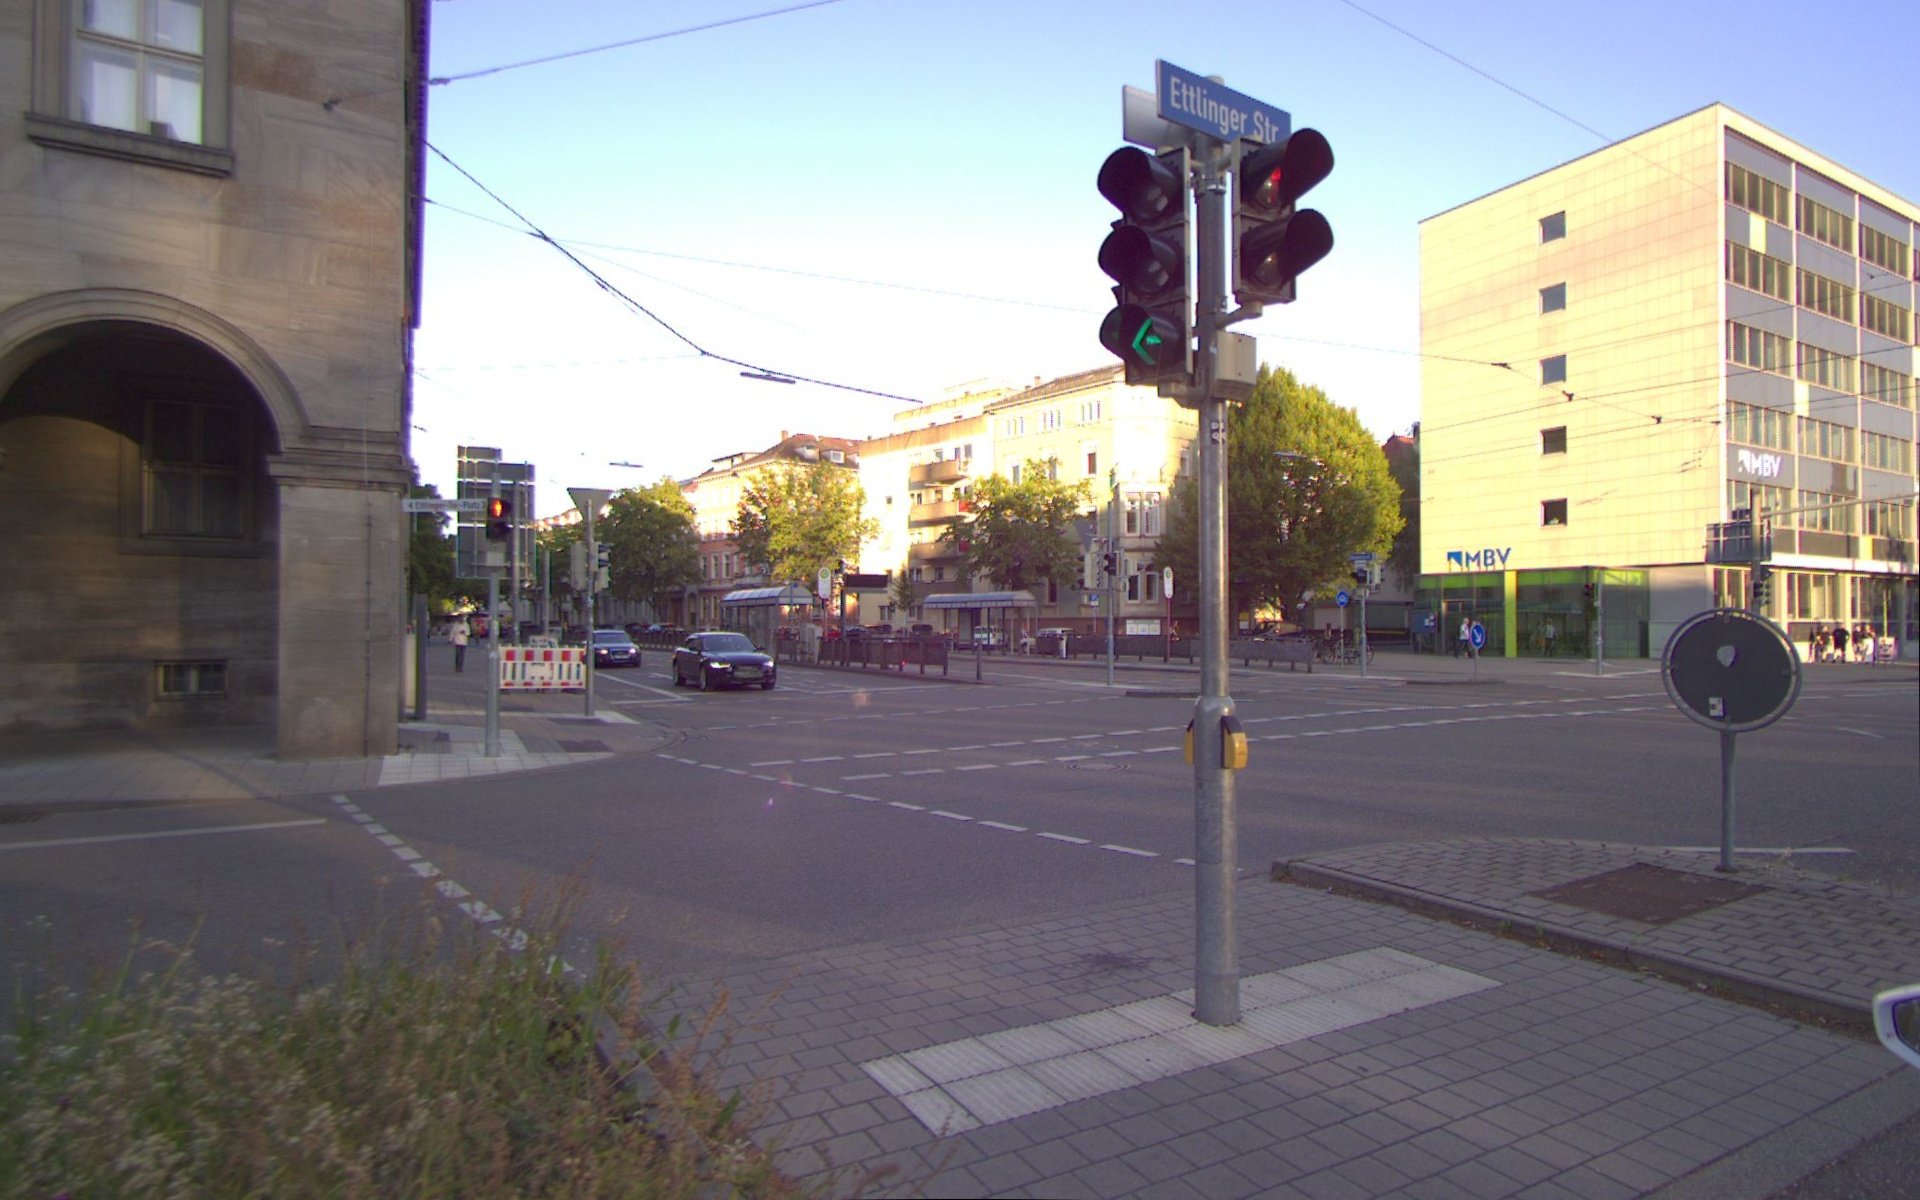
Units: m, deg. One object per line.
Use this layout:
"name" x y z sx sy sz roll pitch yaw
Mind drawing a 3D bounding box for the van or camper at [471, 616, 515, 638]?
"van or camper" -60.618 3.423 130.463 2.045 2.564 5.552 -2 1 13

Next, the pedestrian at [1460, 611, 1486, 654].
"pedestrian" 22.024 1.390 43.118 0.700 1.791 0.741 1 -1 -29

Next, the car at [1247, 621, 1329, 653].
"car" 16.796 1.871 51.395 3.949 1.594 1.790 1 -2 -30

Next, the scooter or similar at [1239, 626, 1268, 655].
"scooter or similar" 13.294 1.822 45.555 1.189 1.241 0.586 -1 0 -29

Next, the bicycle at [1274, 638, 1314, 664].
"bicycle" 14.214 2.174 42.753 1.536 1.089 0.739 1 -2 -28

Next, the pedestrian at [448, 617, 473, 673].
"pedestrian" -15.748 1.407 31.667 0.689 1.732 0.642 1 -1 -27

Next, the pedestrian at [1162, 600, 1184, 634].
"pedestrian" 11.536 0.933 54.406 0.704 1.791 0.976 1 -2 -44

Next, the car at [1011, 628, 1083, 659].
"car" 4.823 2.395 55.846 1.671 1.573 3.954 -3 0 -40

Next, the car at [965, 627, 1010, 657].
"car" 1.720 2.588 61.598 1.687 1.747 4.213 2 -2 16

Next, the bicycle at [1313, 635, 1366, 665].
"bicycle" 15.510 2.045 40.992 2.209 1.147 0.739 0 -1 -28

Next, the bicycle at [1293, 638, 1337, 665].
"bicycle" 14.676 2.132 41.540 1.739 1.089 0.739 1 -2 -28

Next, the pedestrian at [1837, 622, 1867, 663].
"pedestrian" 40.066 1.895 45.131 0.777 1.791 0.836 1 -2 -33

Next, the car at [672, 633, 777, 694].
"car" -6.327 1.615 26.622 1.628 1.446 4.200 1 -2 -29

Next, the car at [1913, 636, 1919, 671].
"car" 41.267 2.265 41.515 3.822 1.430 1.685 1 2 -30

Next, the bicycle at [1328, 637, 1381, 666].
"bicycle" 15.683 2.031 39.914 1.833 1.089 0.742 -1 -1 -12

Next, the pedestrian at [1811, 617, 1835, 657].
"pedestrian" 39.612 1.695 46.110 0.639 1.791 0.649 1 -2 -33

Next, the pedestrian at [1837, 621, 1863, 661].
"pedestrian" 40.720 1.881 45.977 0.666 1.791 0.734 1 -2 -33

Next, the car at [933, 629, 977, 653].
"car" -0.273 2.570 63.553 1.612 1.473 4.211 0 -2 18

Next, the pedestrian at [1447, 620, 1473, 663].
"pedestrian" 21.287 1.756 42.757 0.700 1.791 0.730 1 -1 -29

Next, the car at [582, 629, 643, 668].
"car" -13.742 1.881 39.579 1.628 1.446 3.941 1 -2 -29

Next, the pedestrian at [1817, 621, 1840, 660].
"pedestrian" 40.280 1.870 46.592 0.639 1.791 0.649 1 -2 -33
